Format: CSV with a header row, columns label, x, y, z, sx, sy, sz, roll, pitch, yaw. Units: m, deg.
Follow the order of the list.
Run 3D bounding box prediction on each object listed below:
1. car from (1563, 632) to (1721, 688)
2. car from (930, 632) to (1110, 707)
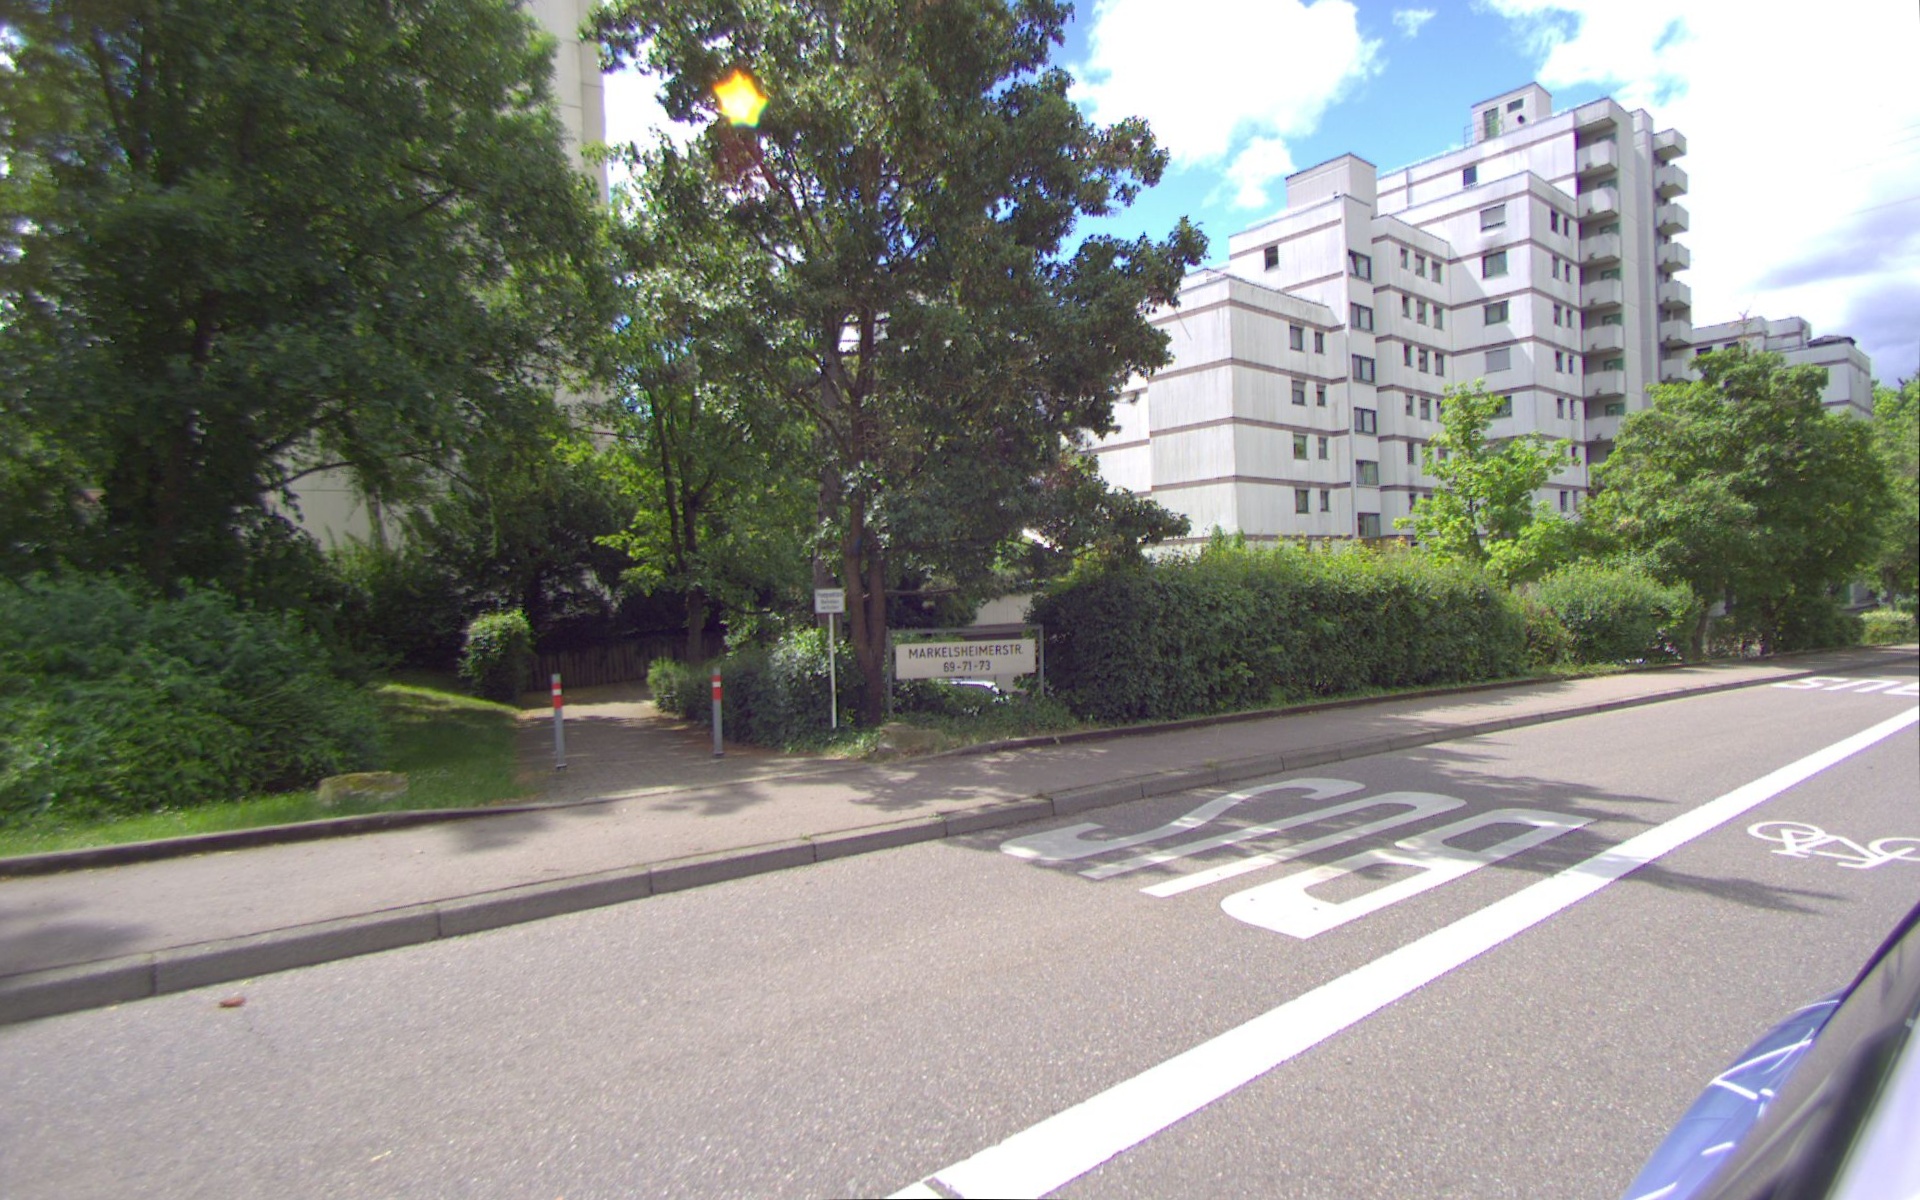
label,x,y,z,sx,sy,sz,roll,pitch,yaw
car,21.101,1.810,31.444,1.536,1.450,3.763,-2,1,-37
car,1.442,1.542,23.597,3.926,1.488,1.875,0,0,-37
